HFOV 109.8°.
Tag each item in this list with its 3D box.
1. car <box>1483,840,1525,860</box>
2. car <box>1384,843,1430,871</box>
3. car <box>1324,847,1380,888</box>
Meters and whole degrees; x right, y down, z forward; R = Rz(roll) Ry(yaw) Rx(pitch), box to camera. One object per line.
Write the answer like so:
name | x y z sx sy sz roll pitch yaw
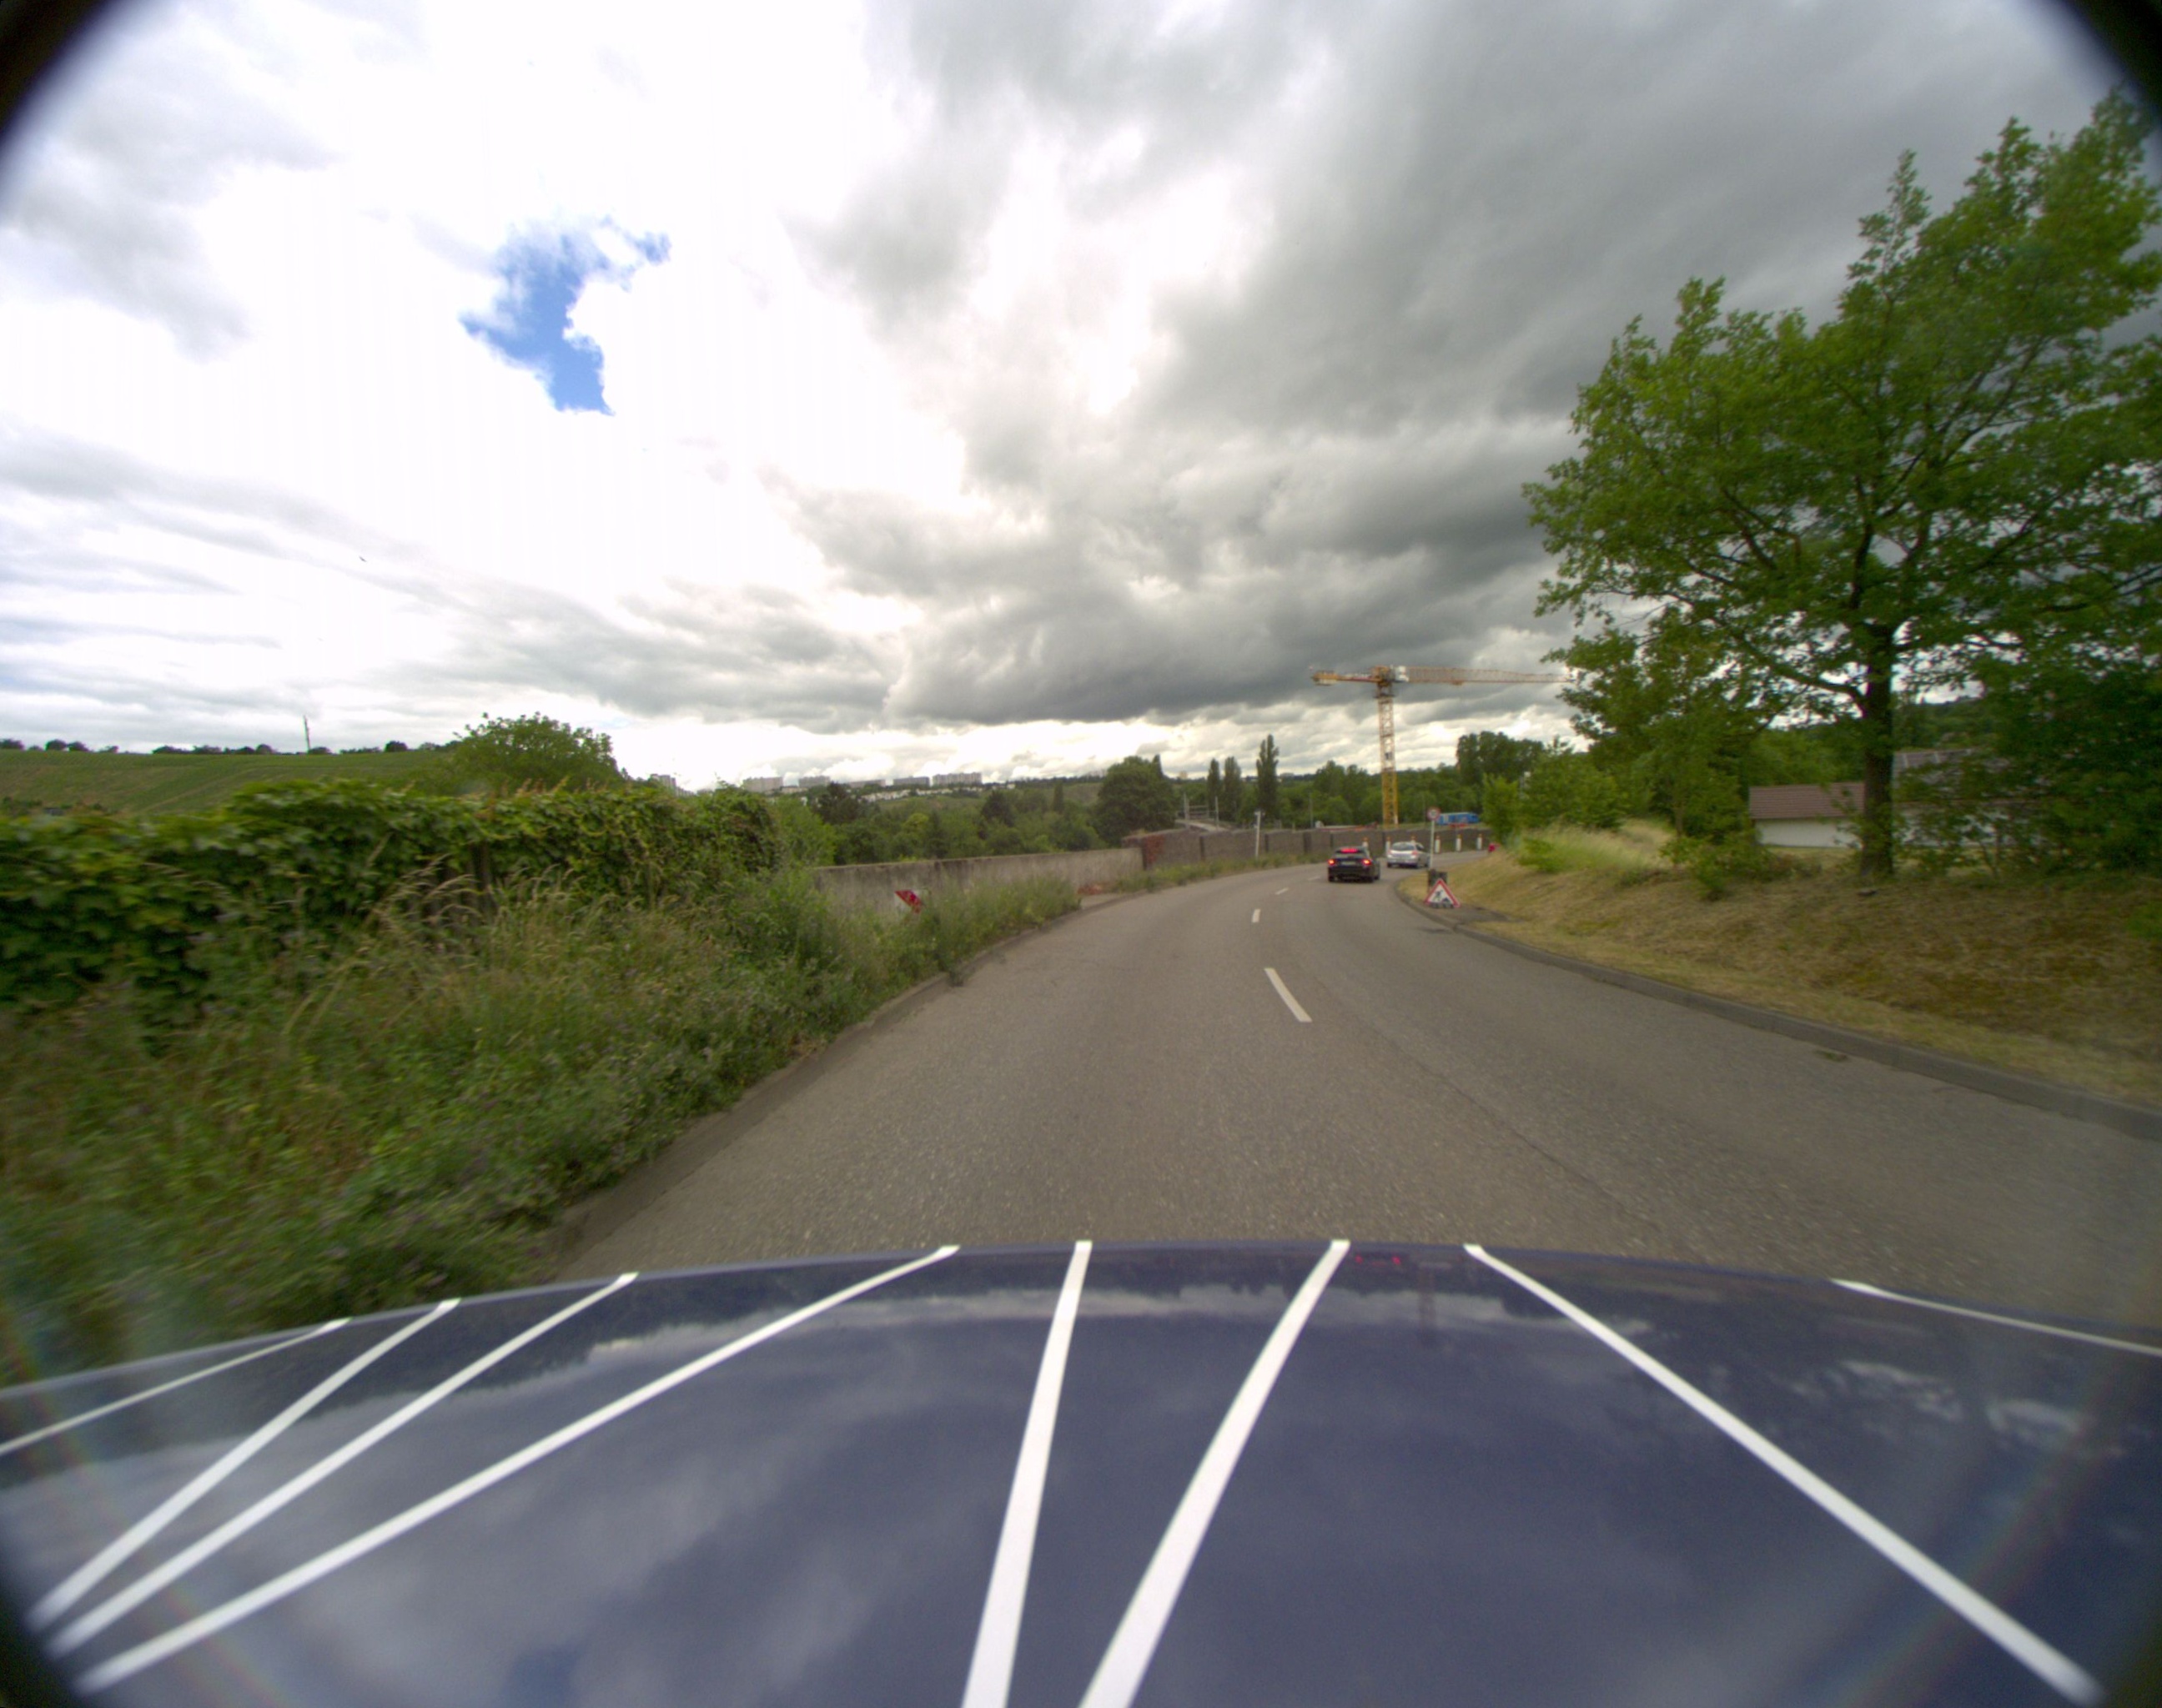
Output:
car | 33.228 -0.333 59.630 3.761 1.409 1.741 -2 4 -43
car | 18.964 0.152 44.093 1.775 1.487 3.921 1 2 33
car | 11.397 0.506 31.804 1.738 1.487 4.441 1 2 26
